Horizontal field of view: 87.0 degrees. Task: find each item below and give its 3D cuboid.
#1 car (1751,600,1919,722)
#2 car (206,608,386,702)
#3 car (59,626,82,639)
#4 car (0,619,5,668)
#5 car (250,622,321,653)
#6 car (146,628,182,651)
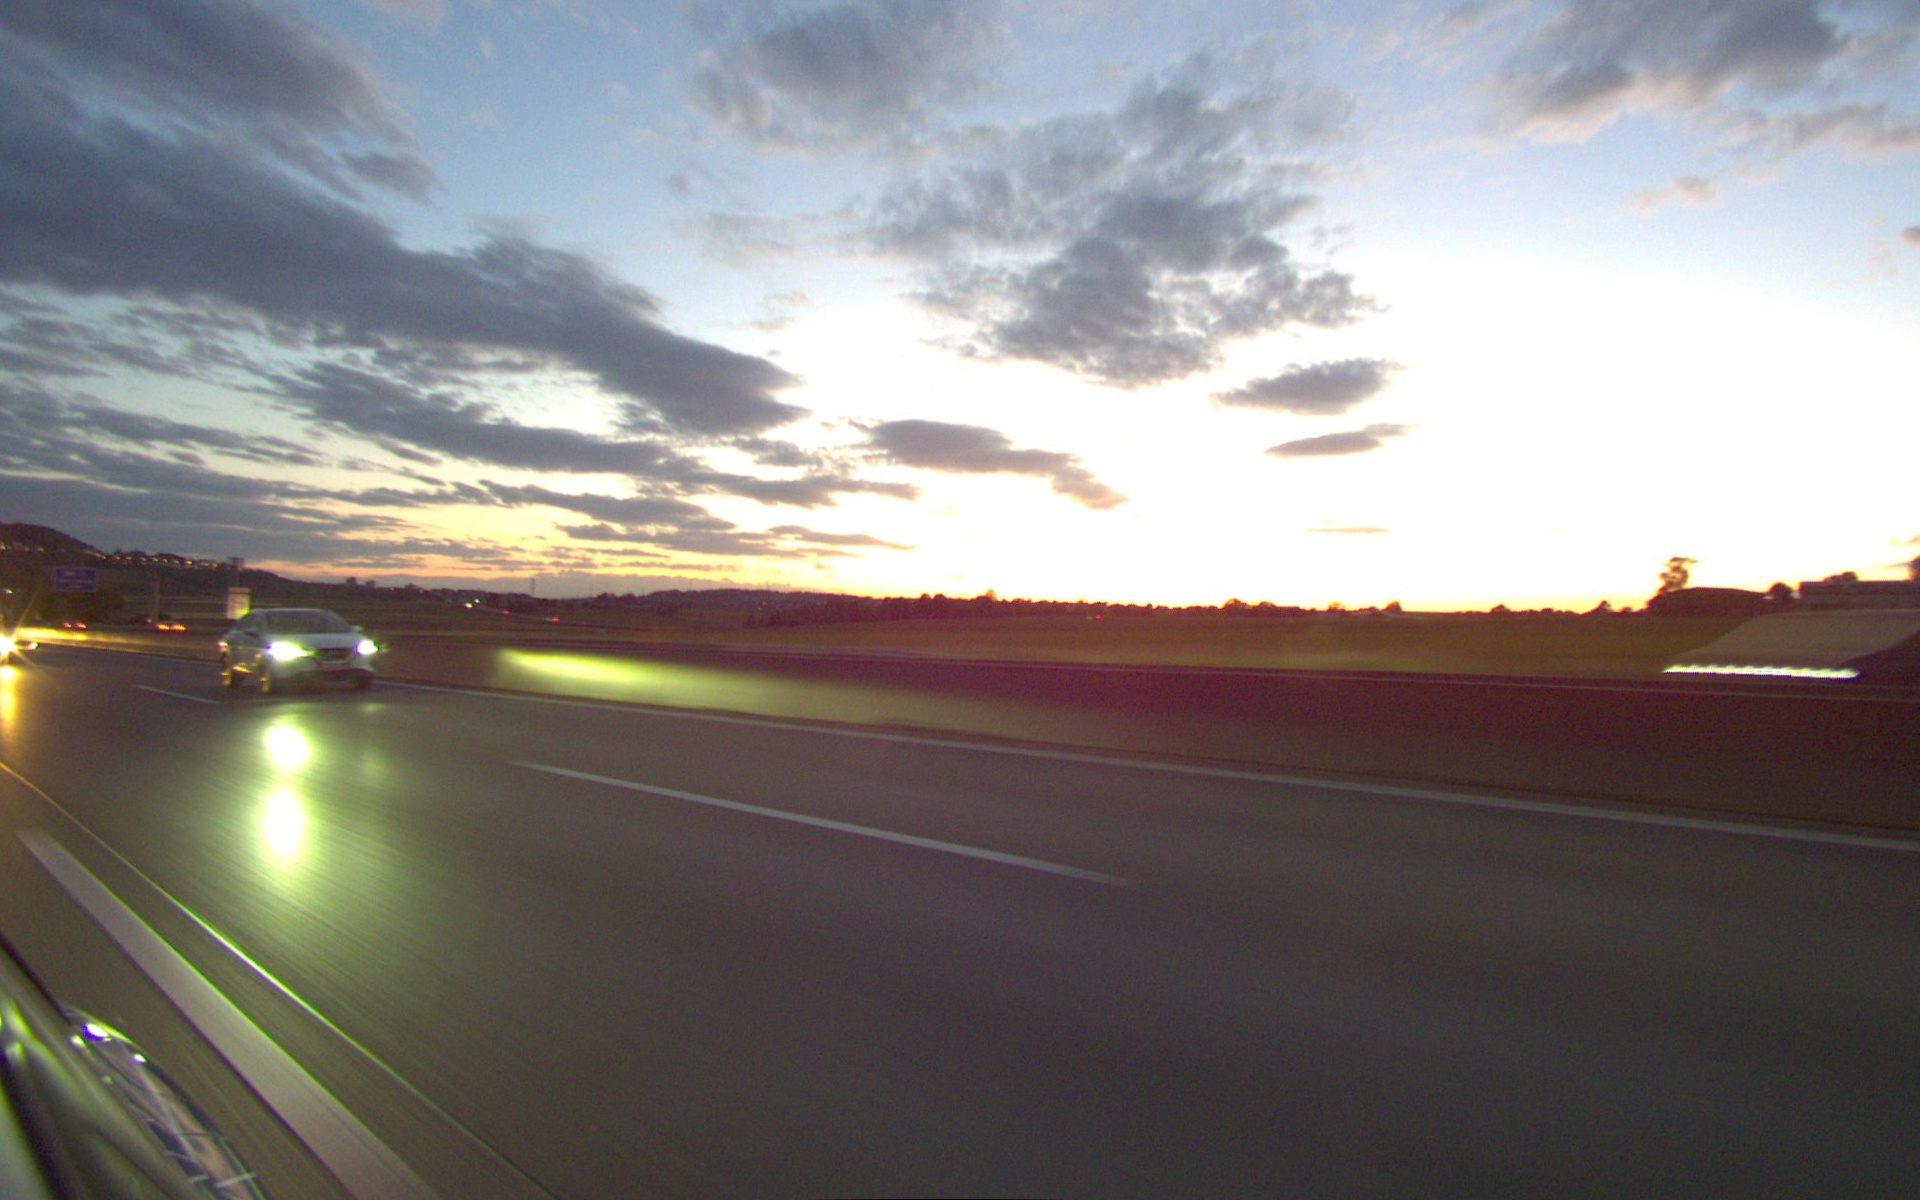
[{"bbox_3d":[15.784,0.942,16.088,4.955,1.861,1.973,-1,0,41],"label":"car"},{"bbox_3d":[-13.511,1.011,20.474,4.854,1.660,1.795,-1,0,41],"label":"car"},{"bbox_3d":[-113.717,4.162,129.400,4.518,1.546,1.641,-1,0,41],"label":"car"},{"bbox_3d":[-32.744,1.425,33.133,4.157,1.552,1.778,-1,0,41],"label":"car"},{"bbox_3d":[-32.323,1.766,48.472,4.703,1.310,1.654,-1,0,41],"label":"car"},{"bbox_3d":[-73.094,3.607,92.923,4.417,2.029,1.755,-1,0,41],"label":"car"}]
